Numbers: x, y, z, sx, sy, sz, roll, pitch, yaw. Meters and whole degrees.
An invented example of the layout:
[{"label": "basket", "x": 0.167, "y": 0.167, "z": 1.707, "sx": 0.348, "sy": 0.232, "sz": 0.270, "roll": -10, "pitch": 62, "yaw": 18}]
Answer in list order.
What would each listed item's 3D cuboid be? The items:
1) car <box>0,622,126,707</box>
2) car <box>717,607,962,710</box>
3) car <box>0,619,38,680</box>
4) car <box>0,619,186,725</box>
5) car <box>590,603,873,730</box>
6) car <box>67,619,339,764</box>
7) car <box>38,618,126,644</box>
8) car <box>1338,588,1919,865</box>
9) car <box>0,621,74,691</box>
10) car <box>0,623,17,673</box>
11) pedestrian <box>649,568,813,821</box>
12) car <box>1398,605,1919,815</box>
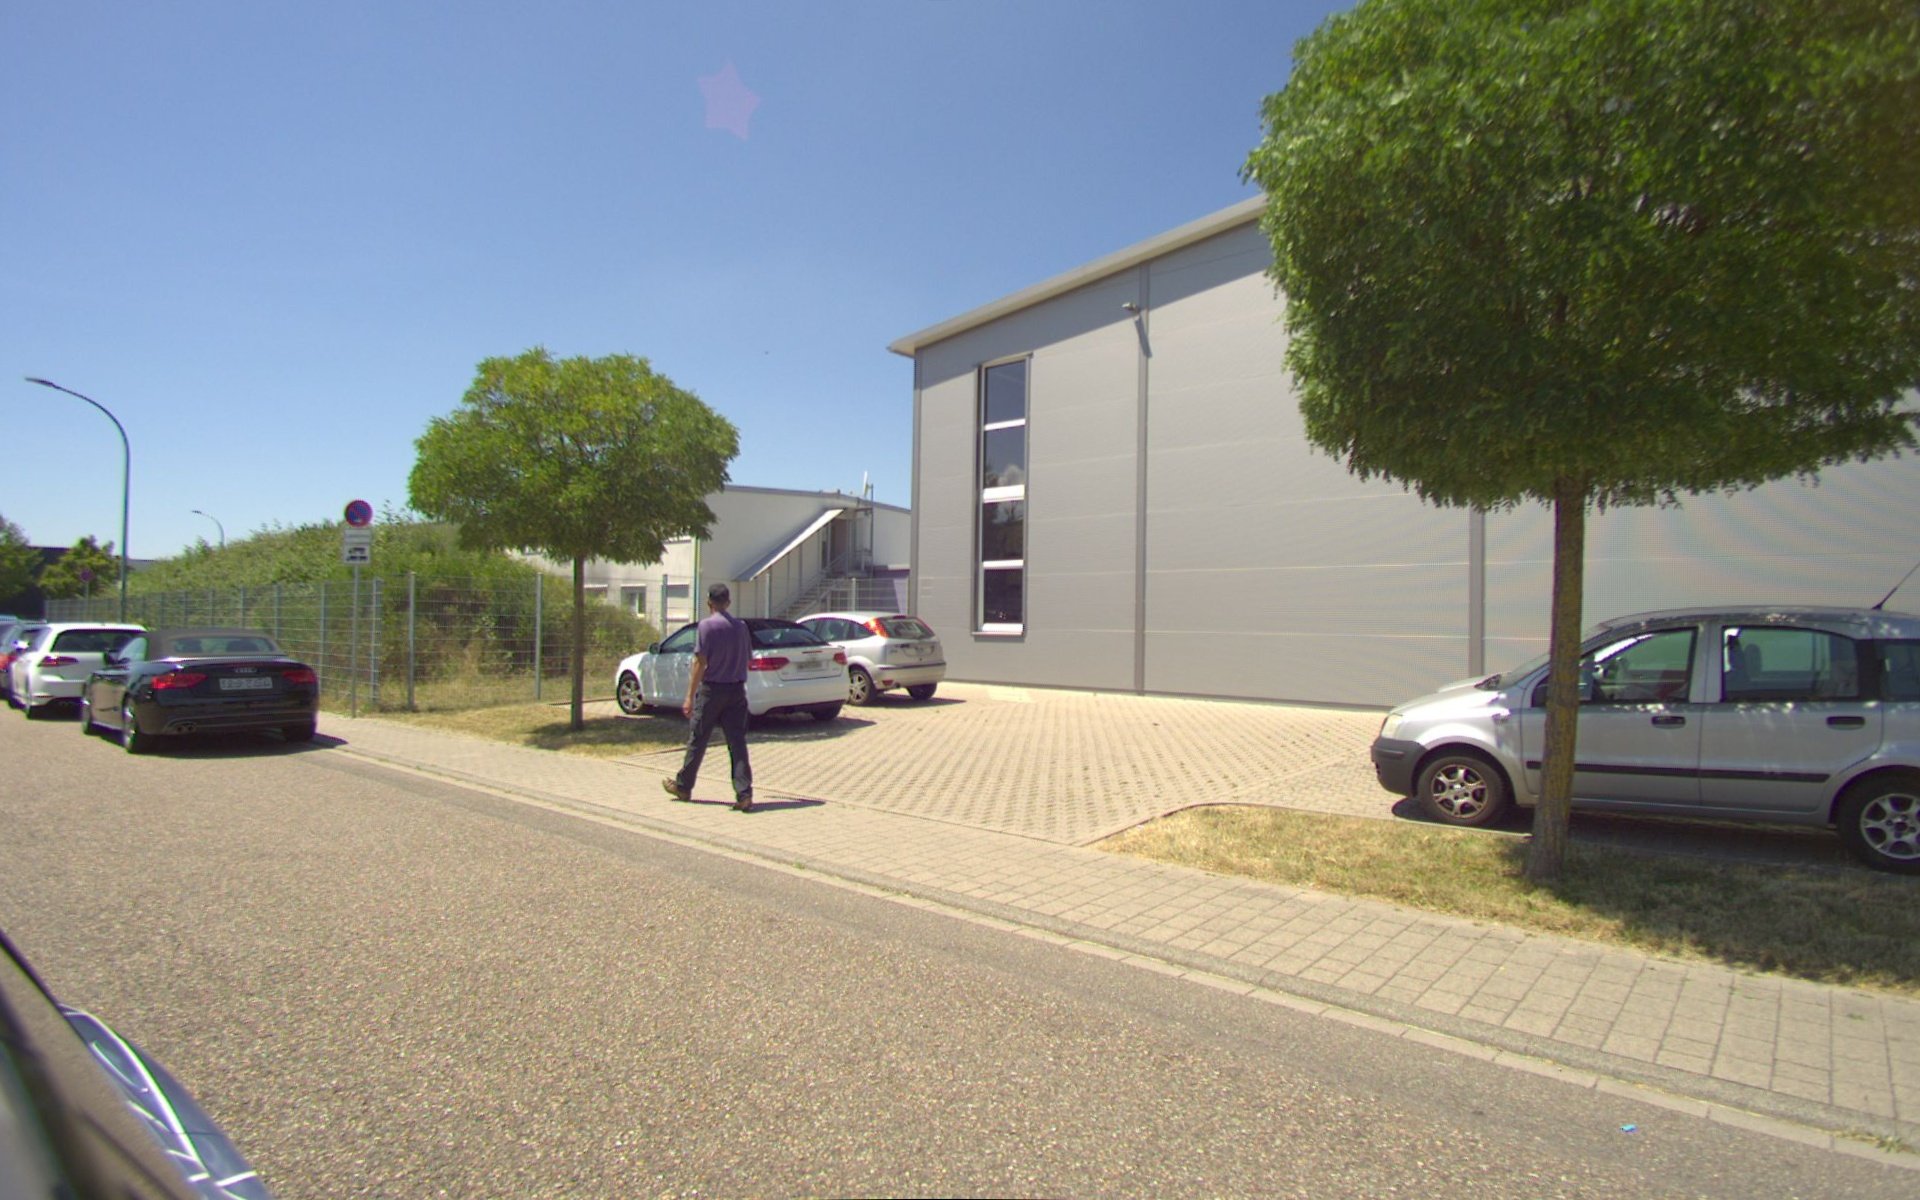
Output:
[{"label": "car", "x": -18.167, "y": 1.204, "z": 20.058, "sx": 4.518, "sy": 1.511, "sz": 1.805, "roll": -1, "pitch": -3, "yaw": 42}, {"label": "car", "x": -2.128, "y": 0.898, "z": 17.100, "sx": 4.259, "sy": 1.511, "sz": 1.804, "roll": -1, "pitch": -1, "yaw": 43}, {"label": "car", "x": -26.542, "y": 1.294, "z": 27.348, "sx": 4.383, "sy": 1.582, "sz": 1.805, "roll": -1, "pitch": -3, "yaw": 40}, {"label": "car", "x": -14.282, "y": 1.089, "z": 16.512, "sx": 4.257, "sy": 1.511, "sz": 1.805, "roll": -1, "pitch": -3, "yaw": 42}, {"label": "car", "x": -3.354, "y": 0.835, "z": 14.321, "sx": 4.328, "sy": 1.511, "sz": 1.804, "roll": -1, "pitch": -1, "yaw": 43}, {"label": "car", "x": -9.657, "y": 1.028, "z": 12.767, "sx": 4.523, "sy": 1.511, "sz": 1.805, "roll": -1, "pitch": -3, "yaw": 41}, {"label": "car", "x": -58.750, "y": 2.058, "z": 67.777, "sx": 1.779, "sy": 1.613, "sz": 4.225, "roll": -1, "pitch": -1, "yaw": 40}, {"label": "car", "x": 4.741, "y": 0.732, "z": 6.971, "sx": 3.698, "sy": 1.511, "sz": 1.667, "roll": -1, "pitch": -2, "yaw": 37}, {"label": "car", "x": -22.458, "y": 1.266, "z": 23.830, "sx": 4.518, "sy": 1.511, "sz": 1.805, "roll": -1, "pitch": -3, "yaw": 42}, {"label": "car", "x": -30.420, "y": 1.424, "z": 30.909, "sx": 4.577, "sy": 1.466, "sz": 1.805, "roll": -1, "pitch": -3, "yaw": 40}, {"label": "pedestrian", "x": -1.805, "y": 0.685, "z": 7.933, "sx": 1.135, "sy": 1.815, "sz": 0.736, "roll": -1, "pitch": -1, "yaw": 43}, {"label": "car", "x": 6.058, "y": 0.818, "z": 8.989, "sx": 3.698, "sy": 1.511, "sz": 1.667, "roll": -1, "pitch": -1, "yaw": 37}]
